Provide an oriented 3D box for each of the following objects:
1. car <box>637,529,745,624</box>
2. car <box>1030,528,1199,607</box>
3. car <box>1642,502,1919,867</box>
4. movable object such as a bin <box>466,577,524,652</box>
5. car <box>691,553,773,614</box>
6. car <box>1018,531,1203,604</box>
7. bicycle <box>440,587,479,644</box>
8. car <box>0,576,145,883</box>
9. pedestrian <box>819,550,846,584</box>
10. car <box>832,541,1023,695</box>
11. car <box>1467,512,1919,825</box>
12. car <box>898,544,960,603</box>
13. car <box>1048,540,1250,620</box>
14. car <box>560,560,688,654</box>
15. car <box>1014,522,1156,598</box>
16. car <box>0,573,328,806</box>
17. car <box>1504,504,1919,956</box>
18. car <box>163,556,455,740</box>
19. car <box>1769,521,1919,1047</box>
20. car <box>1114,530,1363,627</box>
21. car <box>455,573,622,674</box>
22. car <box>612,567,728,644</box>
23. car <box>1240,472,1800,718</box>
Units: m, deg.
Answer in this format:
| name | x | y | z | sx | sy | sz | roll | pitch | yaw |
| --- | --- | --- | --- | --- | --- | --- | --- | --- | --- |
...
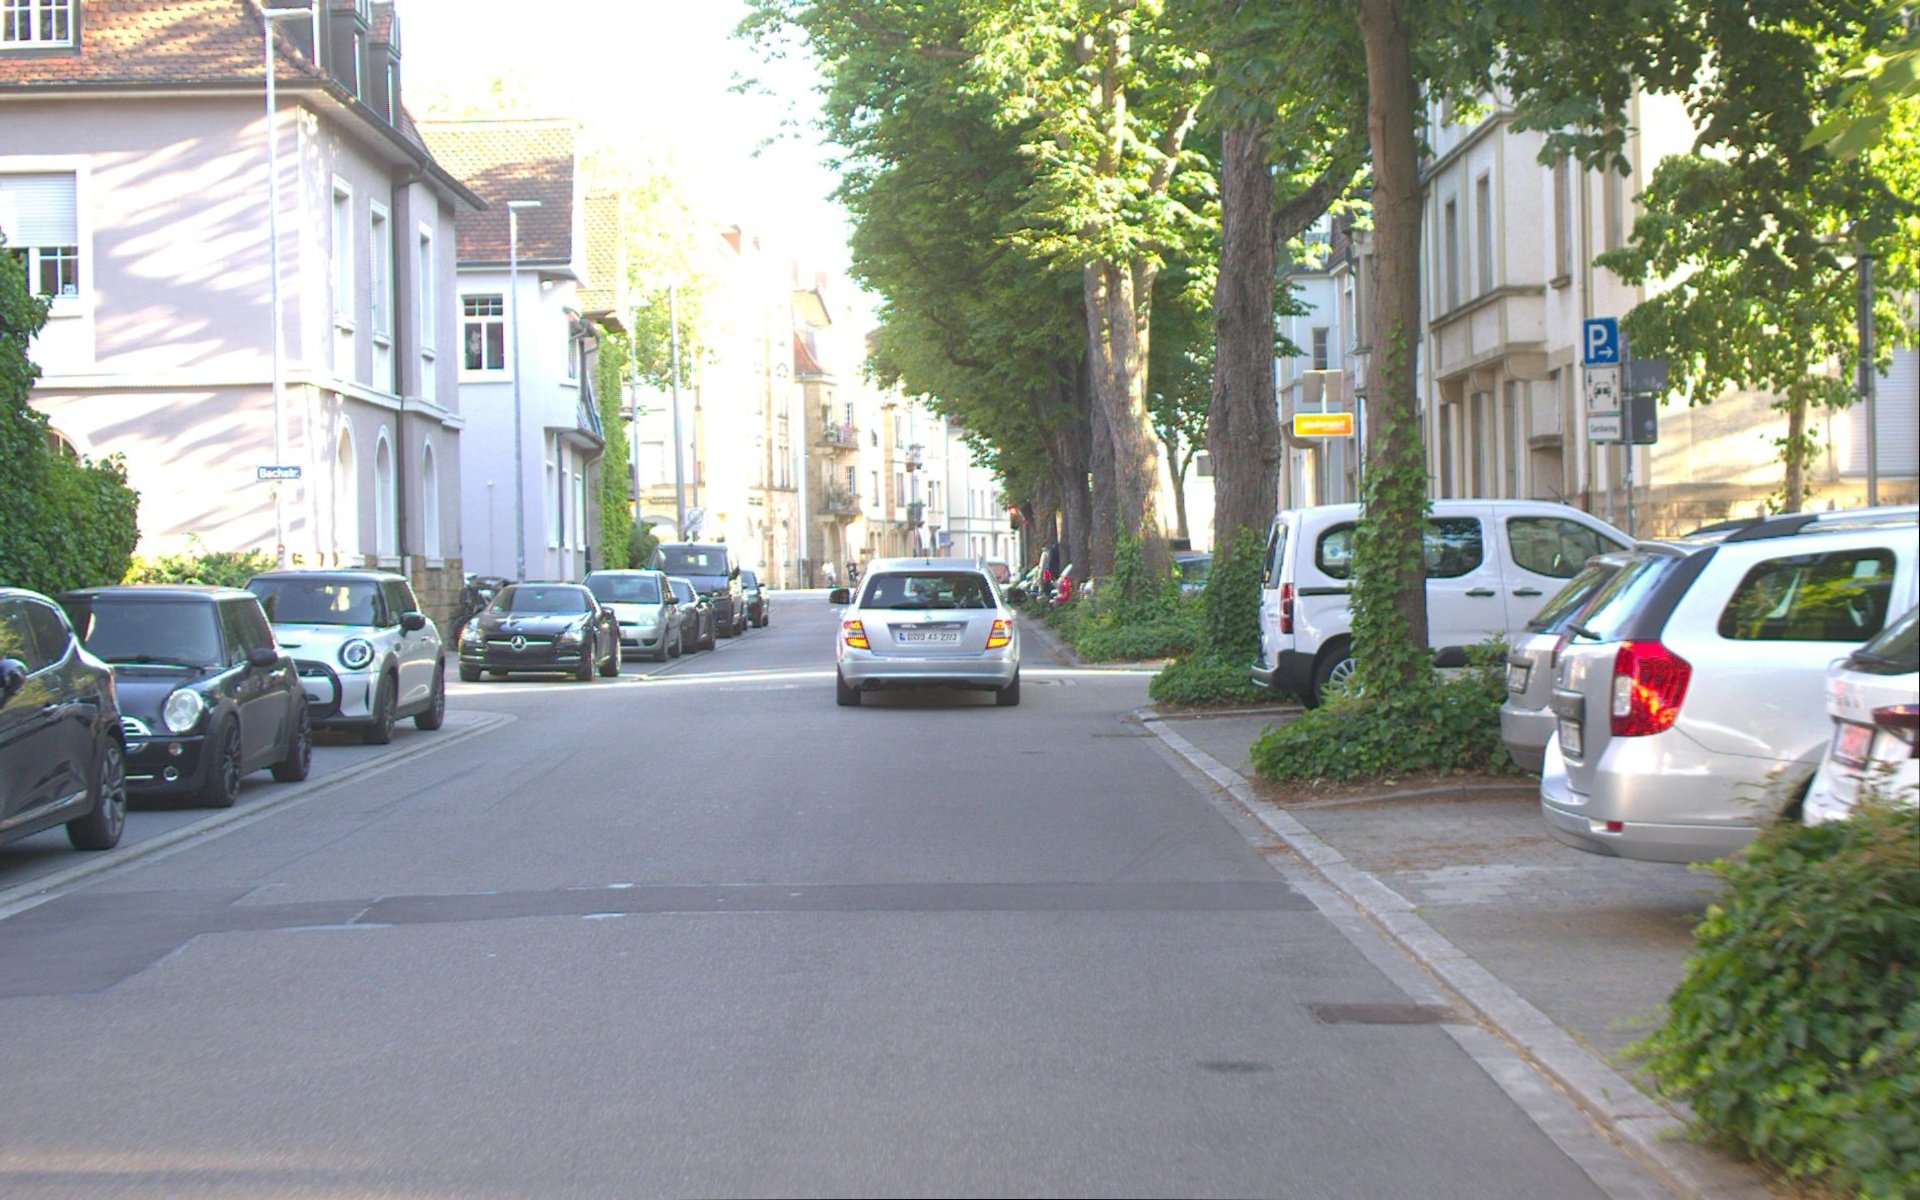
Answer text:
| name | x | y | z | sx | sy | sz | roll | pitch | yaw |
| --- | --- | --- | --- | --- | --- | --- | --- | --- | --- |
| car | -5.629 | -0.515 | 72.407 | 1.982 | 1.941 | 4.852 | 0 | 1 | -1 |
| car | 4.026 | -0.857 | 90.122 | 4.219 | 1.890 | 1.906 | -2 | 1 | -2 |
| car | 5.487 | 0.271 | 15.702 | 4.314 | 1.529 | 1.828 | -3 | 1 | 0 |
| movable object such as a bin | -8.255 | 0.251 | 61.103 | 0.721 | 1.279 | 2.096 | -1 | 1 | 0 |
| car | -5.491 | -0.417 | 83.279 | 1.695 | 1.442 | 4.358 | 0 | 1 | 0 |
| car | 4.236 | -0.930 | 97.381 | 5.053 | 1.982 | 2.072 | -1 | 1 | -2 |
| bicycle | -8.590 | 0.255 | 58.999 | 0.394 | 0.934 | 1.722 | -1 | 1 | 0 |
| car | -5.331 | 0.607 | 16.958 | 1.649 | 1.416 | 4.099 | 0 | 1 | 0 |
| pedestrian | -6.417 | -1.660 | 173.423 | 1.221 | 1.716 | 1.503 | 0 | 1 | 3 |
| car | -0.287 | 0.160 | 33.967 | 1.784 | 1.432 | 3.851 | 0 | 0 | 0 |
| car | 4.685 | 0.291 | 17.963 | 3.747 | 1.458 | 1.734 | -3 | 1 | 0 |
| car | -0.831 | -0.736 | 94.105 | 1.623 | 1.564 | 3.680 | -1 | 1 | 1 |
| car | 4.025 | -0.436 | 73.528 | 4.190 | 1.470 | 1.851 | -3 | 0 | 3 |
| car | -5.407 | 0.082 | 55.692 | 1.653 | 1.440 | 3.960 | 0 | 1 | 1 |
| car | 3.993 | -1.289 | 110.223 | 4.388 | 2.356 | 2.000 | -1 | 1 | -2 |
| car | -5.344 | 0.526 | 22.596 | 1.686 | 1.375 | 3.721 | 0 | 1 | 0 |
| car | 4.251 | 0.379 | 12.848 | 4.144 | 1.529 | 1.687 | -3 | 1 | 2 |
| car | -5.523 | 0.360 | 29.607 | 1.704 | 1.455 | 3.917 | 0 | 1 | 1 |
| car | 4.538 | 0.422 | 10.301 | 3.852 | 1.457 | 1.686 | -3 | 1 | 5 |
| car | 4.555 | -0.358 | 56.529 | 3.792 | 1.433 | 1.749 | -2 | 1 | -4 |
| car | -5.725 | 0.290 | 47.084 | 1.653 | 1.319 | 4.045 | 0 | 0 | 2 |
| car | -5.105 | 0.088 | 60.955 | 1.531 | 1.314 | 4.226 | 0 | 0 | 2 |
| car | 4.638 | -0.057 | 28.981 | 4.314 | 1.801 | 2.000 | -3 | 1 | 0 |
